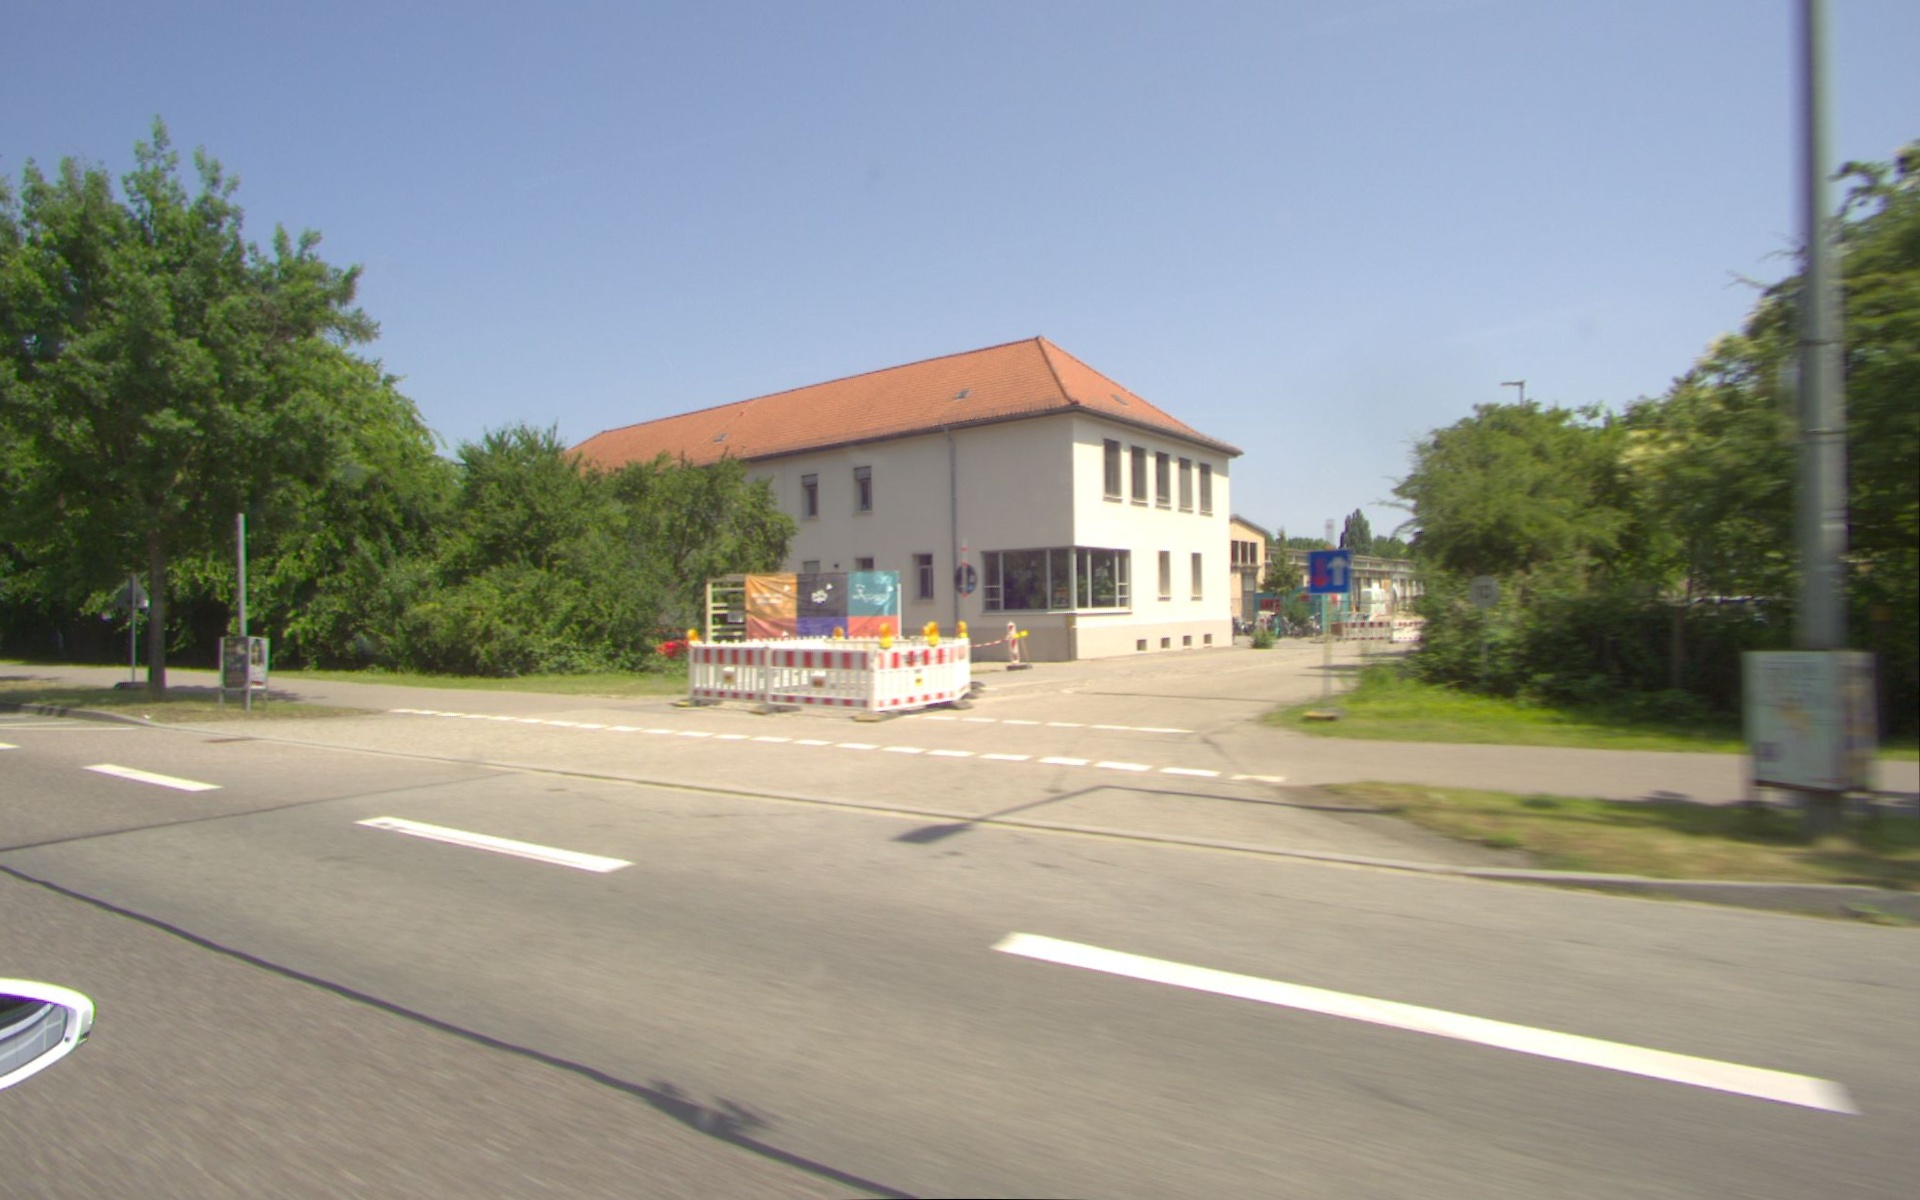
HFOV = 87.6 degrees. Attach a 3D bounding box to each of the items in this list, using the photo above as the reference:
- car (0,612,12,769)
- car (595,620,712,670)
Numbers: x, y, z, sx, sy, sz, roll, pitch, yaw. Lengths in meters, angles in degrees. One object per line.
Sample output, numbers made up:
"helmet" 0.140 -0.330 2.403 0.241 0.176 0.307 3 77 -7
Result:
"car" -12.007 0.957 10.734 3.835 1.632 1.789 -1 -1 32
"car" -11.208 1.594 36.620 3.934 1.684 1.874 0 0 -22
